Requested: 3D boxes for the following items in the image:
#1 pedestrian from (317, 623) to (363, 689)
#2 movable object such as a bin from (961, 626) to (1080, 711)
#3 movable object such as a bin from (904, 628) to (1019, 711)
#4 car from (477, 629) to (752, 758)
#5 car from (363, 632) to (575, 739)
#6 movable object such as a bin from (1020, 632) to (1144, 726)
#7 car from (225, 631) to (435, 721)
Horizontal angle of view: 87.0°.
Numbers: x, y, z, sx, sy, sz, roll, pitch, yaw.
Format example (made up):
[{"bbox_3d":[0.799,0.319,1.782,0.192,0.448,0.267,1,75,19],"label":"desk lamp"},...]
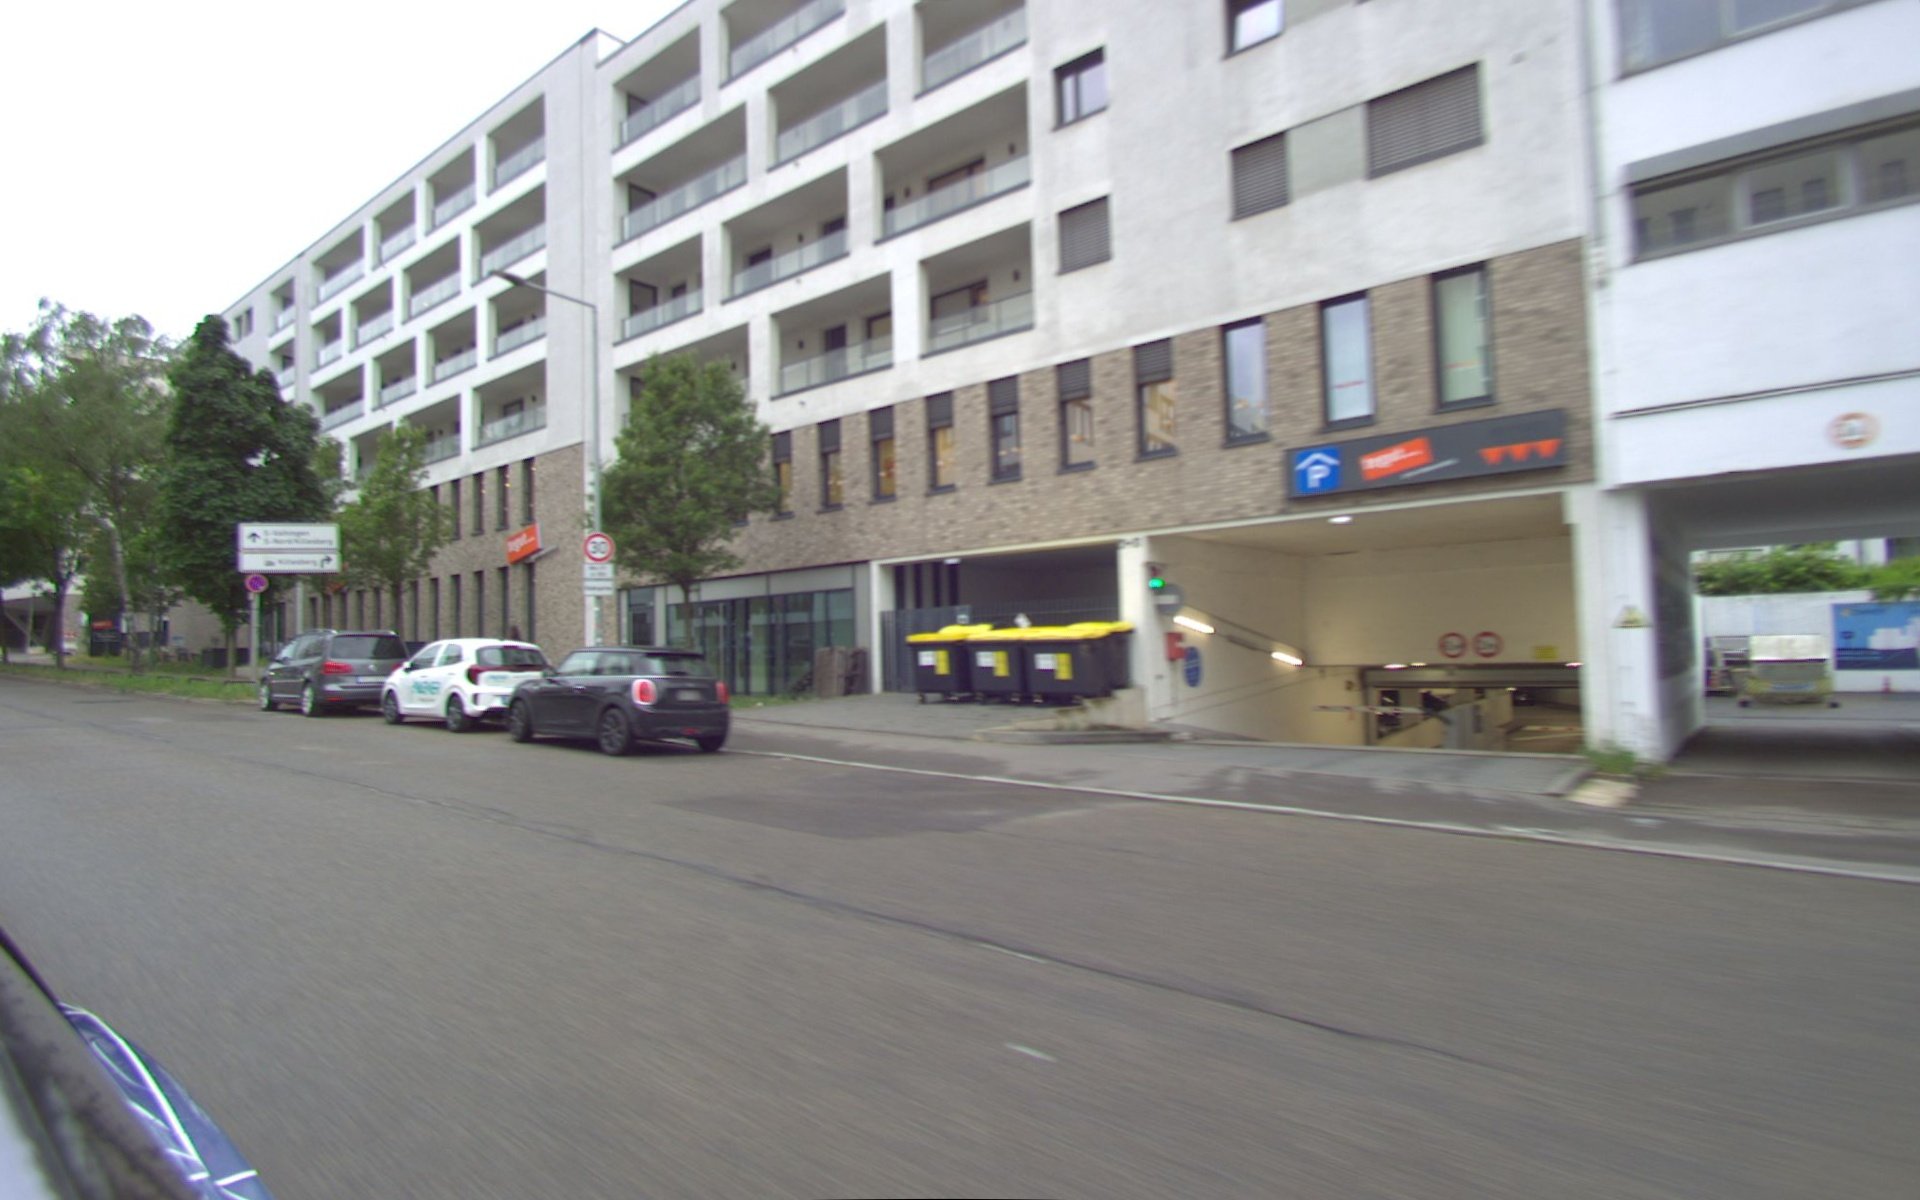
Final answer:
[{"bbox_3d":[-16.470,1.479,26.871,0.954,1.696,0.702,-2,-3,34],"label":"pedestrian"},{"bbox_3d":[1.134,1.222,18.651,1.314,1.434,2.036,-2,-1,35],"label":"movable object such as a bin"},{"bbox_3d":[0.050,1.298,19.455,1.287,1.440,2.009,-2,-1,35],"label":"movable object such as a bin"},{"bbox_3d":[-4.978,1.197,14.327,4.242,1.528,1.778,-1,-2,40],"label":"car"},{"bbox_3d":[-8.505,1.387,17.415,4.027,1.613,1.756,-2,-3,39],"label":"car"},{"bbox_3d":[2.144,1.351,17.602,1.478,1.522,1.780,-2,-4,35],"label":"movable object such as a bin"},{"bbox_3d":[-12.805,1.490,20.472,4.678,1.621,2.058,-2,-4,37],"label":"car"}]
